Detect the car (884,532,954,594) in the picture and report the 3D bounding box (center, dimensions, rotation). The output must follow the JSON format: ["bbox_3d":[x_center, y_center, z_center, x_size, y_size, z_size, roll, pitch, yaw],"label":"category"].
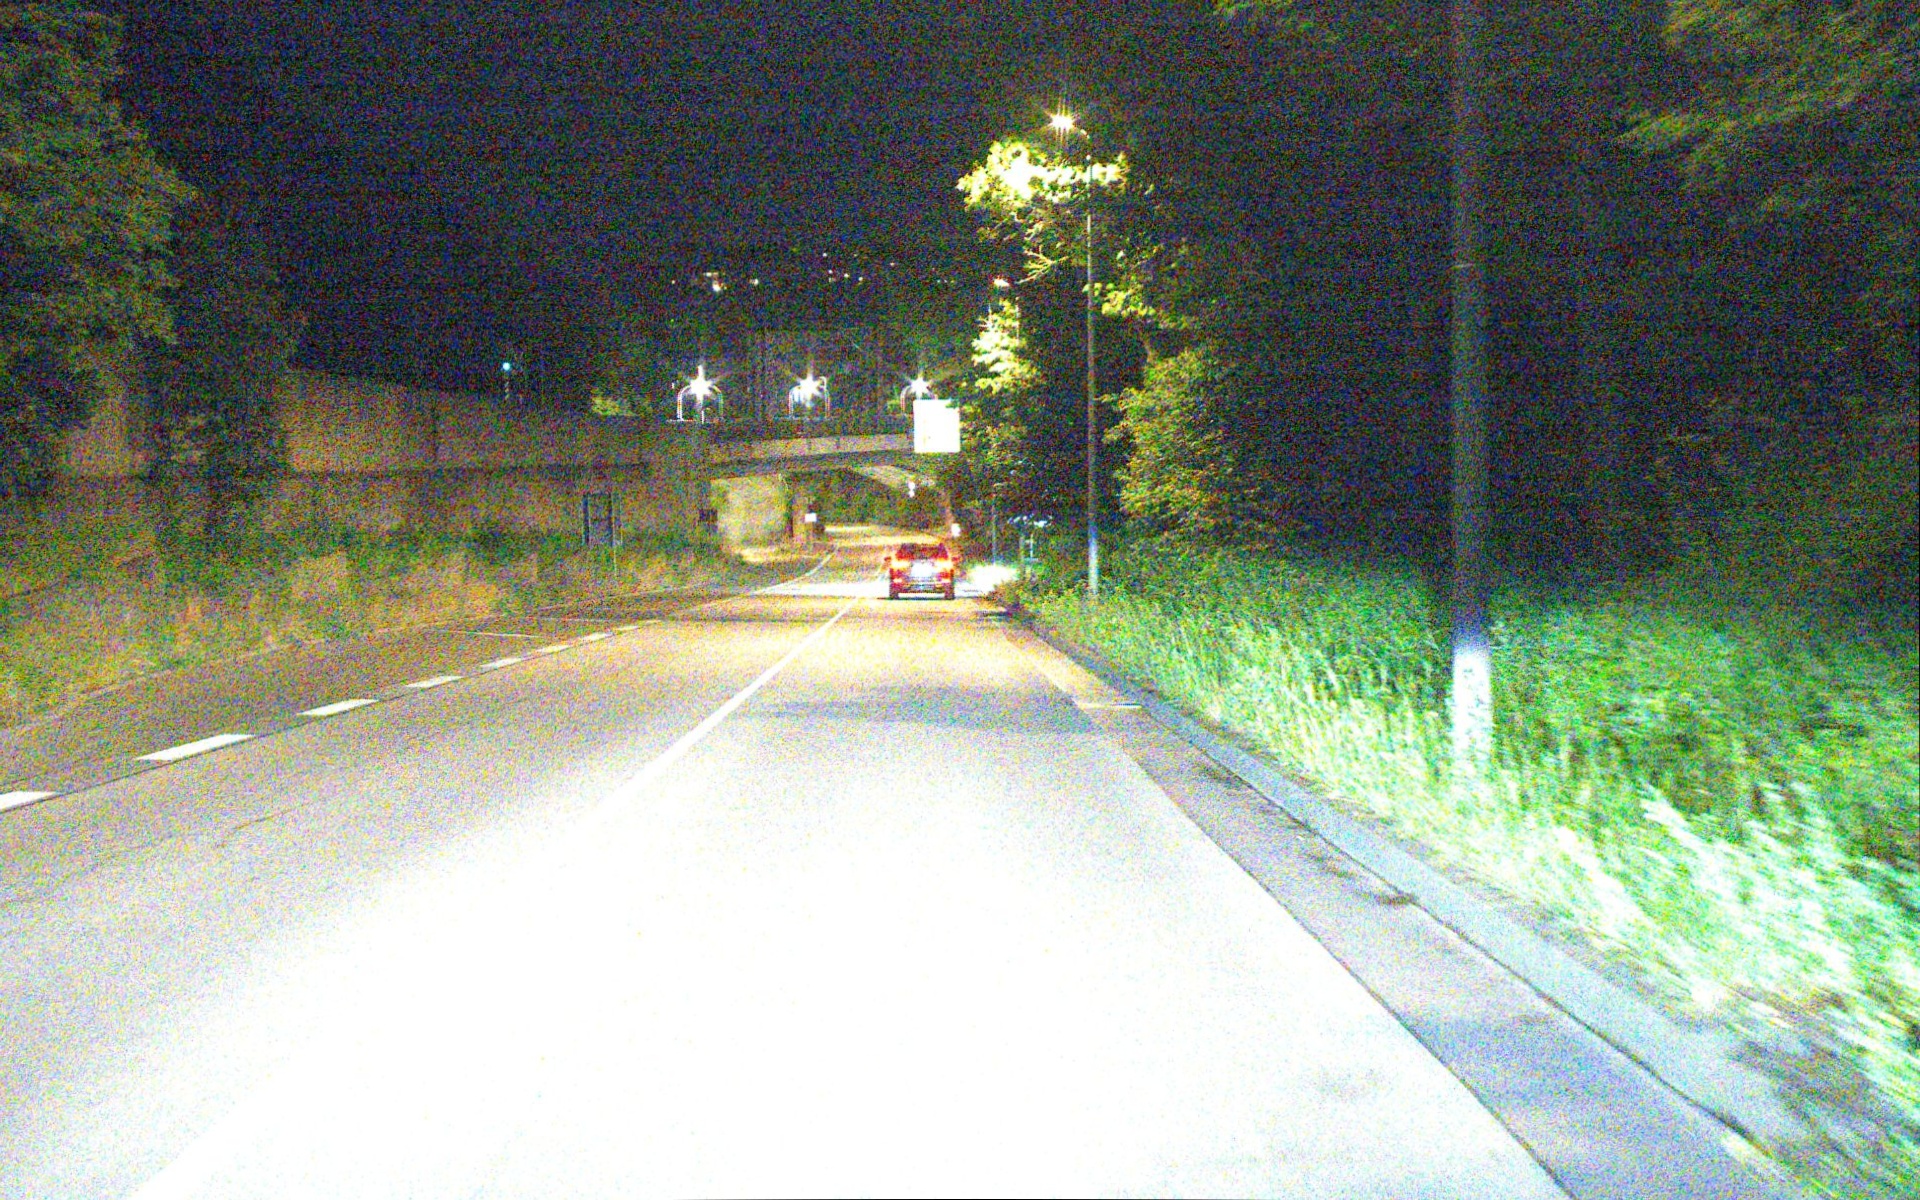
[{"bbox_3d":[-1.125,-1.056,95.842,1.763,1.636,3.723,0,2,2],"label":"car"}]
